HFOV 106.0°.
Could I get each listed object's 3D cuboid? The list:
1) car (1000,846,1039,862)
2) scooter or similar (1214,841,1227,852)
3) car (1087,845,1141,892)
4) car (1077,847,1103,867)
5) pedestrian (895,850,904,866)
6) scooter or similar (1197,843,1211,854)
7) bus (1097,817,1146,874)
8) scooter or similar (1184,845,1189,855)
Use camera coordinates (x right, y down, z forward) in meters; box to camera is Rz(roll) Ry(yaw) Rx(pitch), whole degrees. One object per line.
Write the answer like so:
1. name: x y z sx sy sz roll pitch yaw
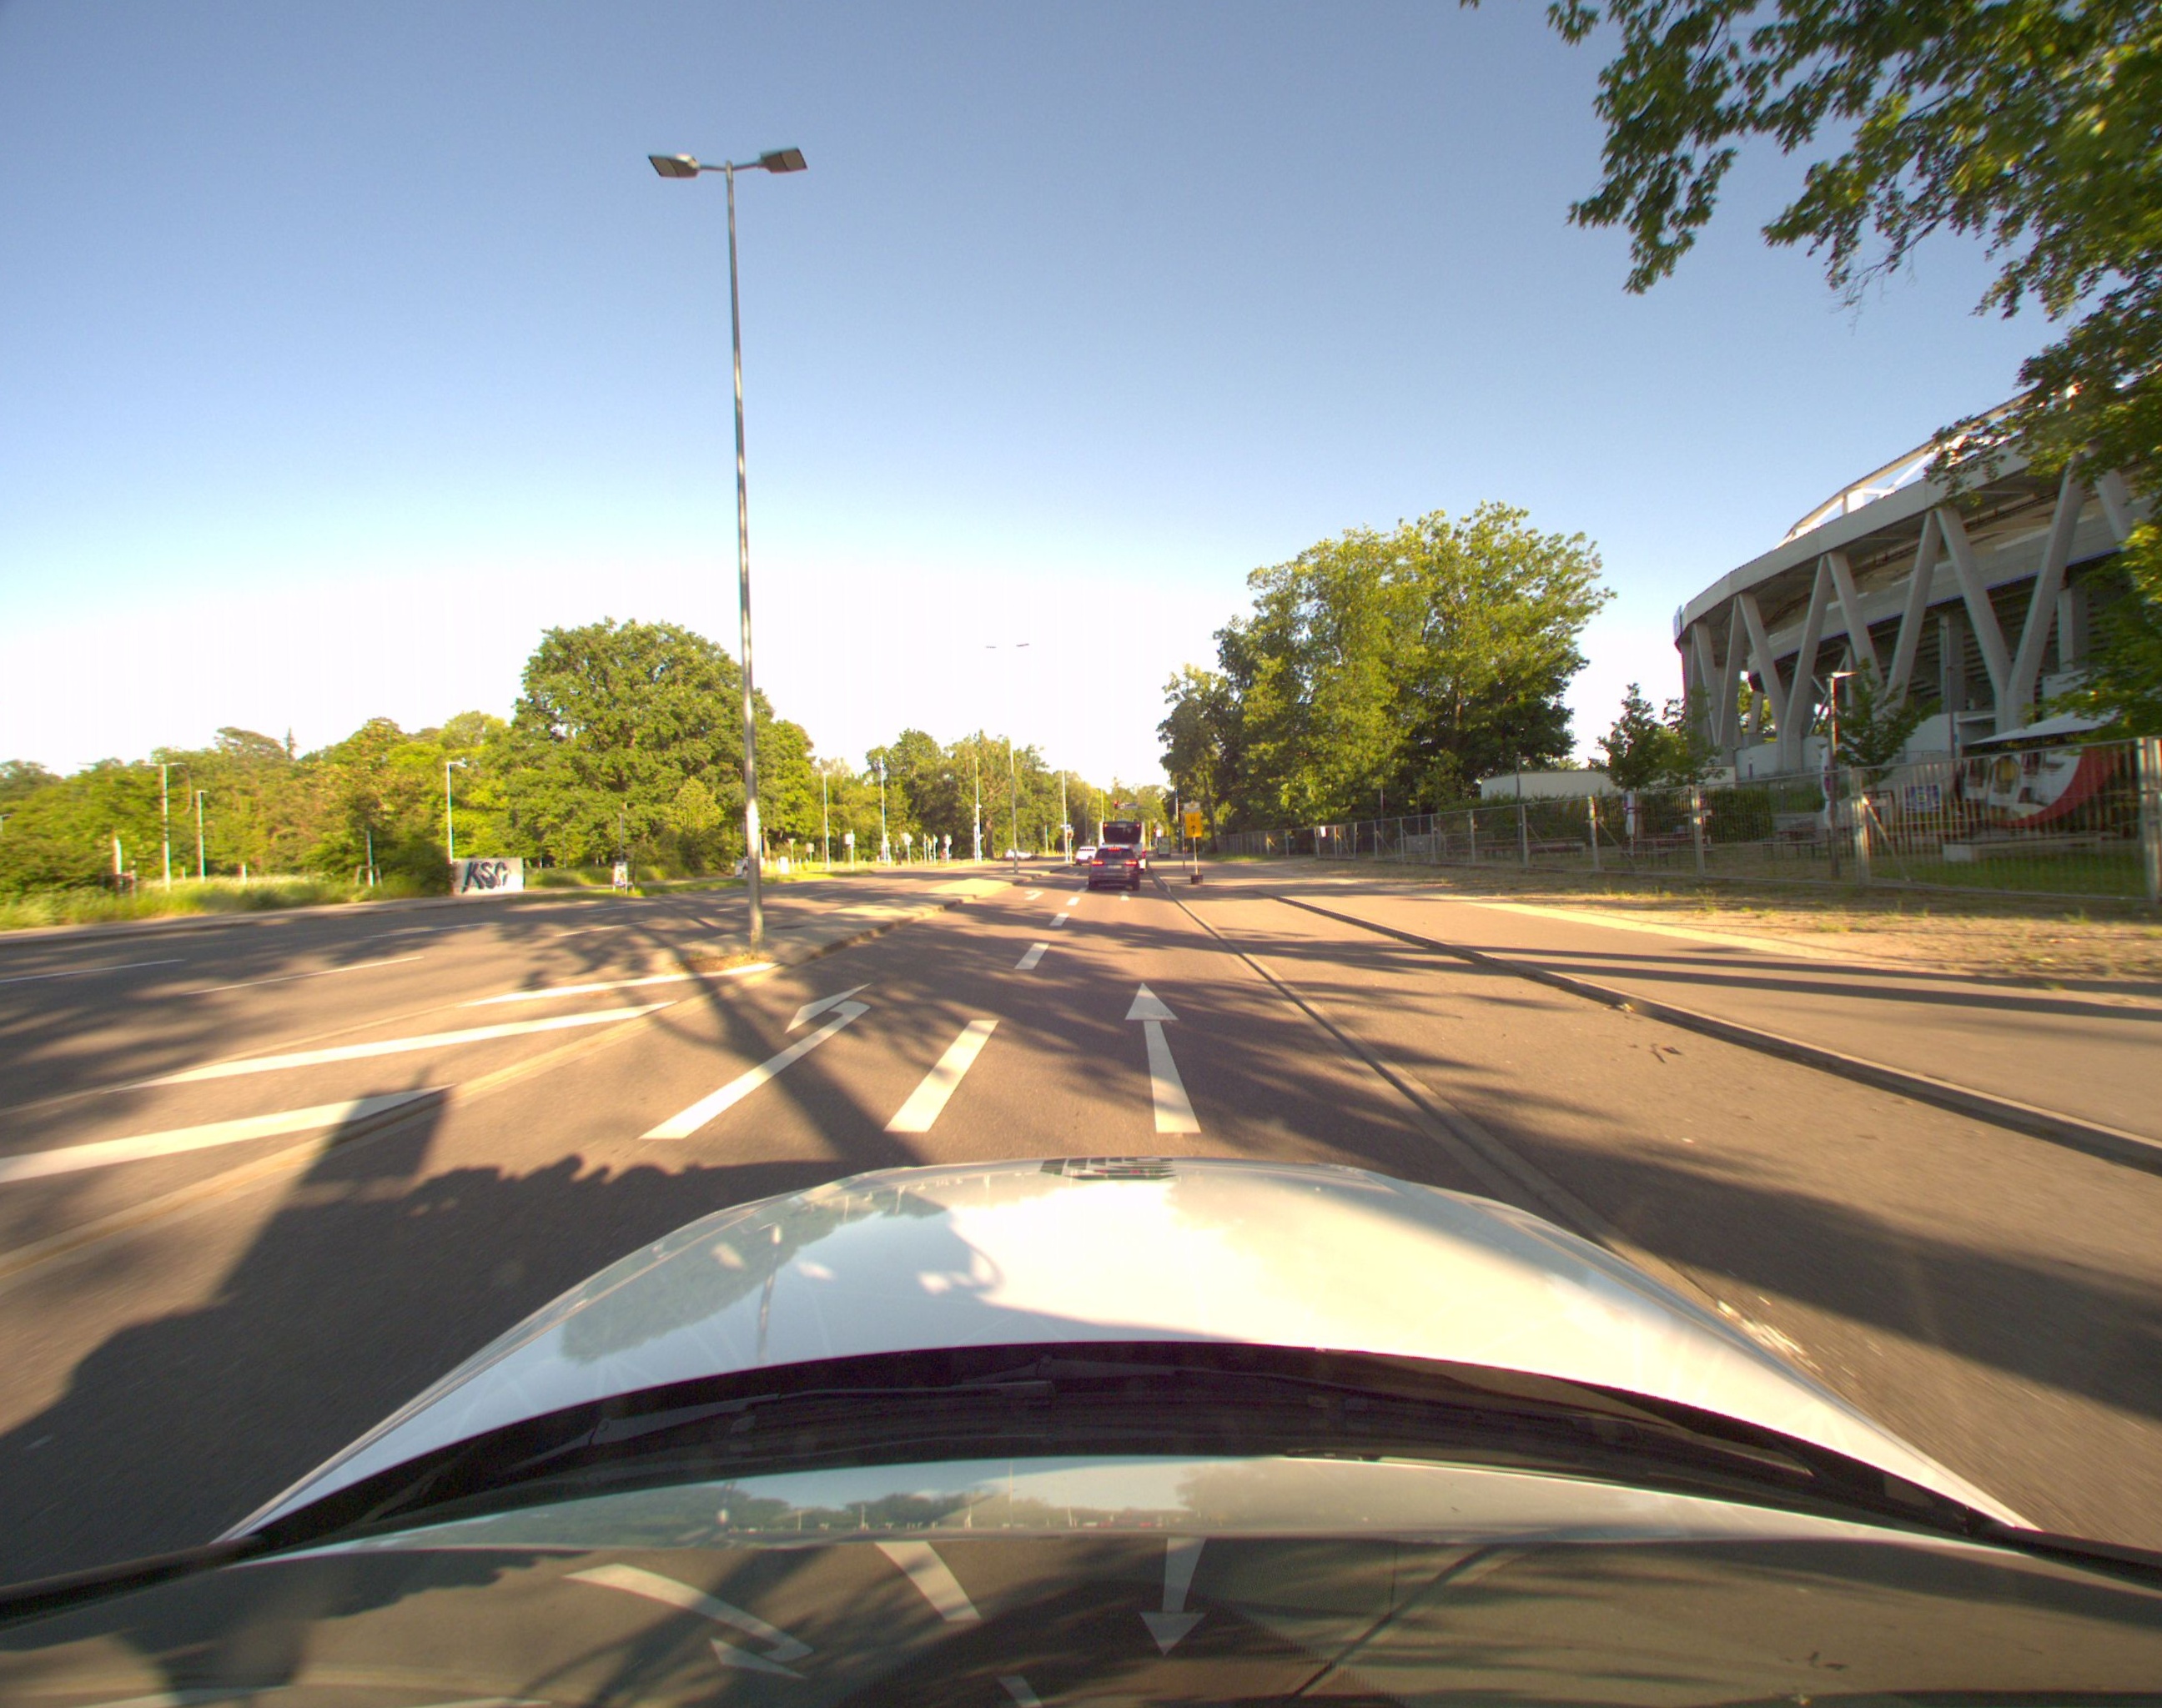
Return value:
1. car: -6.961 0.027 92.270 4.004 1.640 2.050 -3 0 -23
2. scooter or similar: 20.662 -1.037 120.699 0.543 1.567 2.000 -3 0 -35
3. car: 1.283 0.476 30.558 1.890 1.632 4.004 0 1 4
4. car: 0.768 0.230 65.193 1.828 1.518 4.004 -1 1 4
5. pedestrian: -19.083 0.420 85.543 0.652 1.560 0.533 -2 0 -39
6. scooter or similar: 18.026 -0.816 119.569 2.023 1.444 0.601 -3 0 -21
7. bus: 2.450 -0.436 47.684 2.583 2.989 9.336 0 0 4
8. scooter or similar: 15.826 -0.628 122.093 0.506 1.444 2.021 -2 0 -1
